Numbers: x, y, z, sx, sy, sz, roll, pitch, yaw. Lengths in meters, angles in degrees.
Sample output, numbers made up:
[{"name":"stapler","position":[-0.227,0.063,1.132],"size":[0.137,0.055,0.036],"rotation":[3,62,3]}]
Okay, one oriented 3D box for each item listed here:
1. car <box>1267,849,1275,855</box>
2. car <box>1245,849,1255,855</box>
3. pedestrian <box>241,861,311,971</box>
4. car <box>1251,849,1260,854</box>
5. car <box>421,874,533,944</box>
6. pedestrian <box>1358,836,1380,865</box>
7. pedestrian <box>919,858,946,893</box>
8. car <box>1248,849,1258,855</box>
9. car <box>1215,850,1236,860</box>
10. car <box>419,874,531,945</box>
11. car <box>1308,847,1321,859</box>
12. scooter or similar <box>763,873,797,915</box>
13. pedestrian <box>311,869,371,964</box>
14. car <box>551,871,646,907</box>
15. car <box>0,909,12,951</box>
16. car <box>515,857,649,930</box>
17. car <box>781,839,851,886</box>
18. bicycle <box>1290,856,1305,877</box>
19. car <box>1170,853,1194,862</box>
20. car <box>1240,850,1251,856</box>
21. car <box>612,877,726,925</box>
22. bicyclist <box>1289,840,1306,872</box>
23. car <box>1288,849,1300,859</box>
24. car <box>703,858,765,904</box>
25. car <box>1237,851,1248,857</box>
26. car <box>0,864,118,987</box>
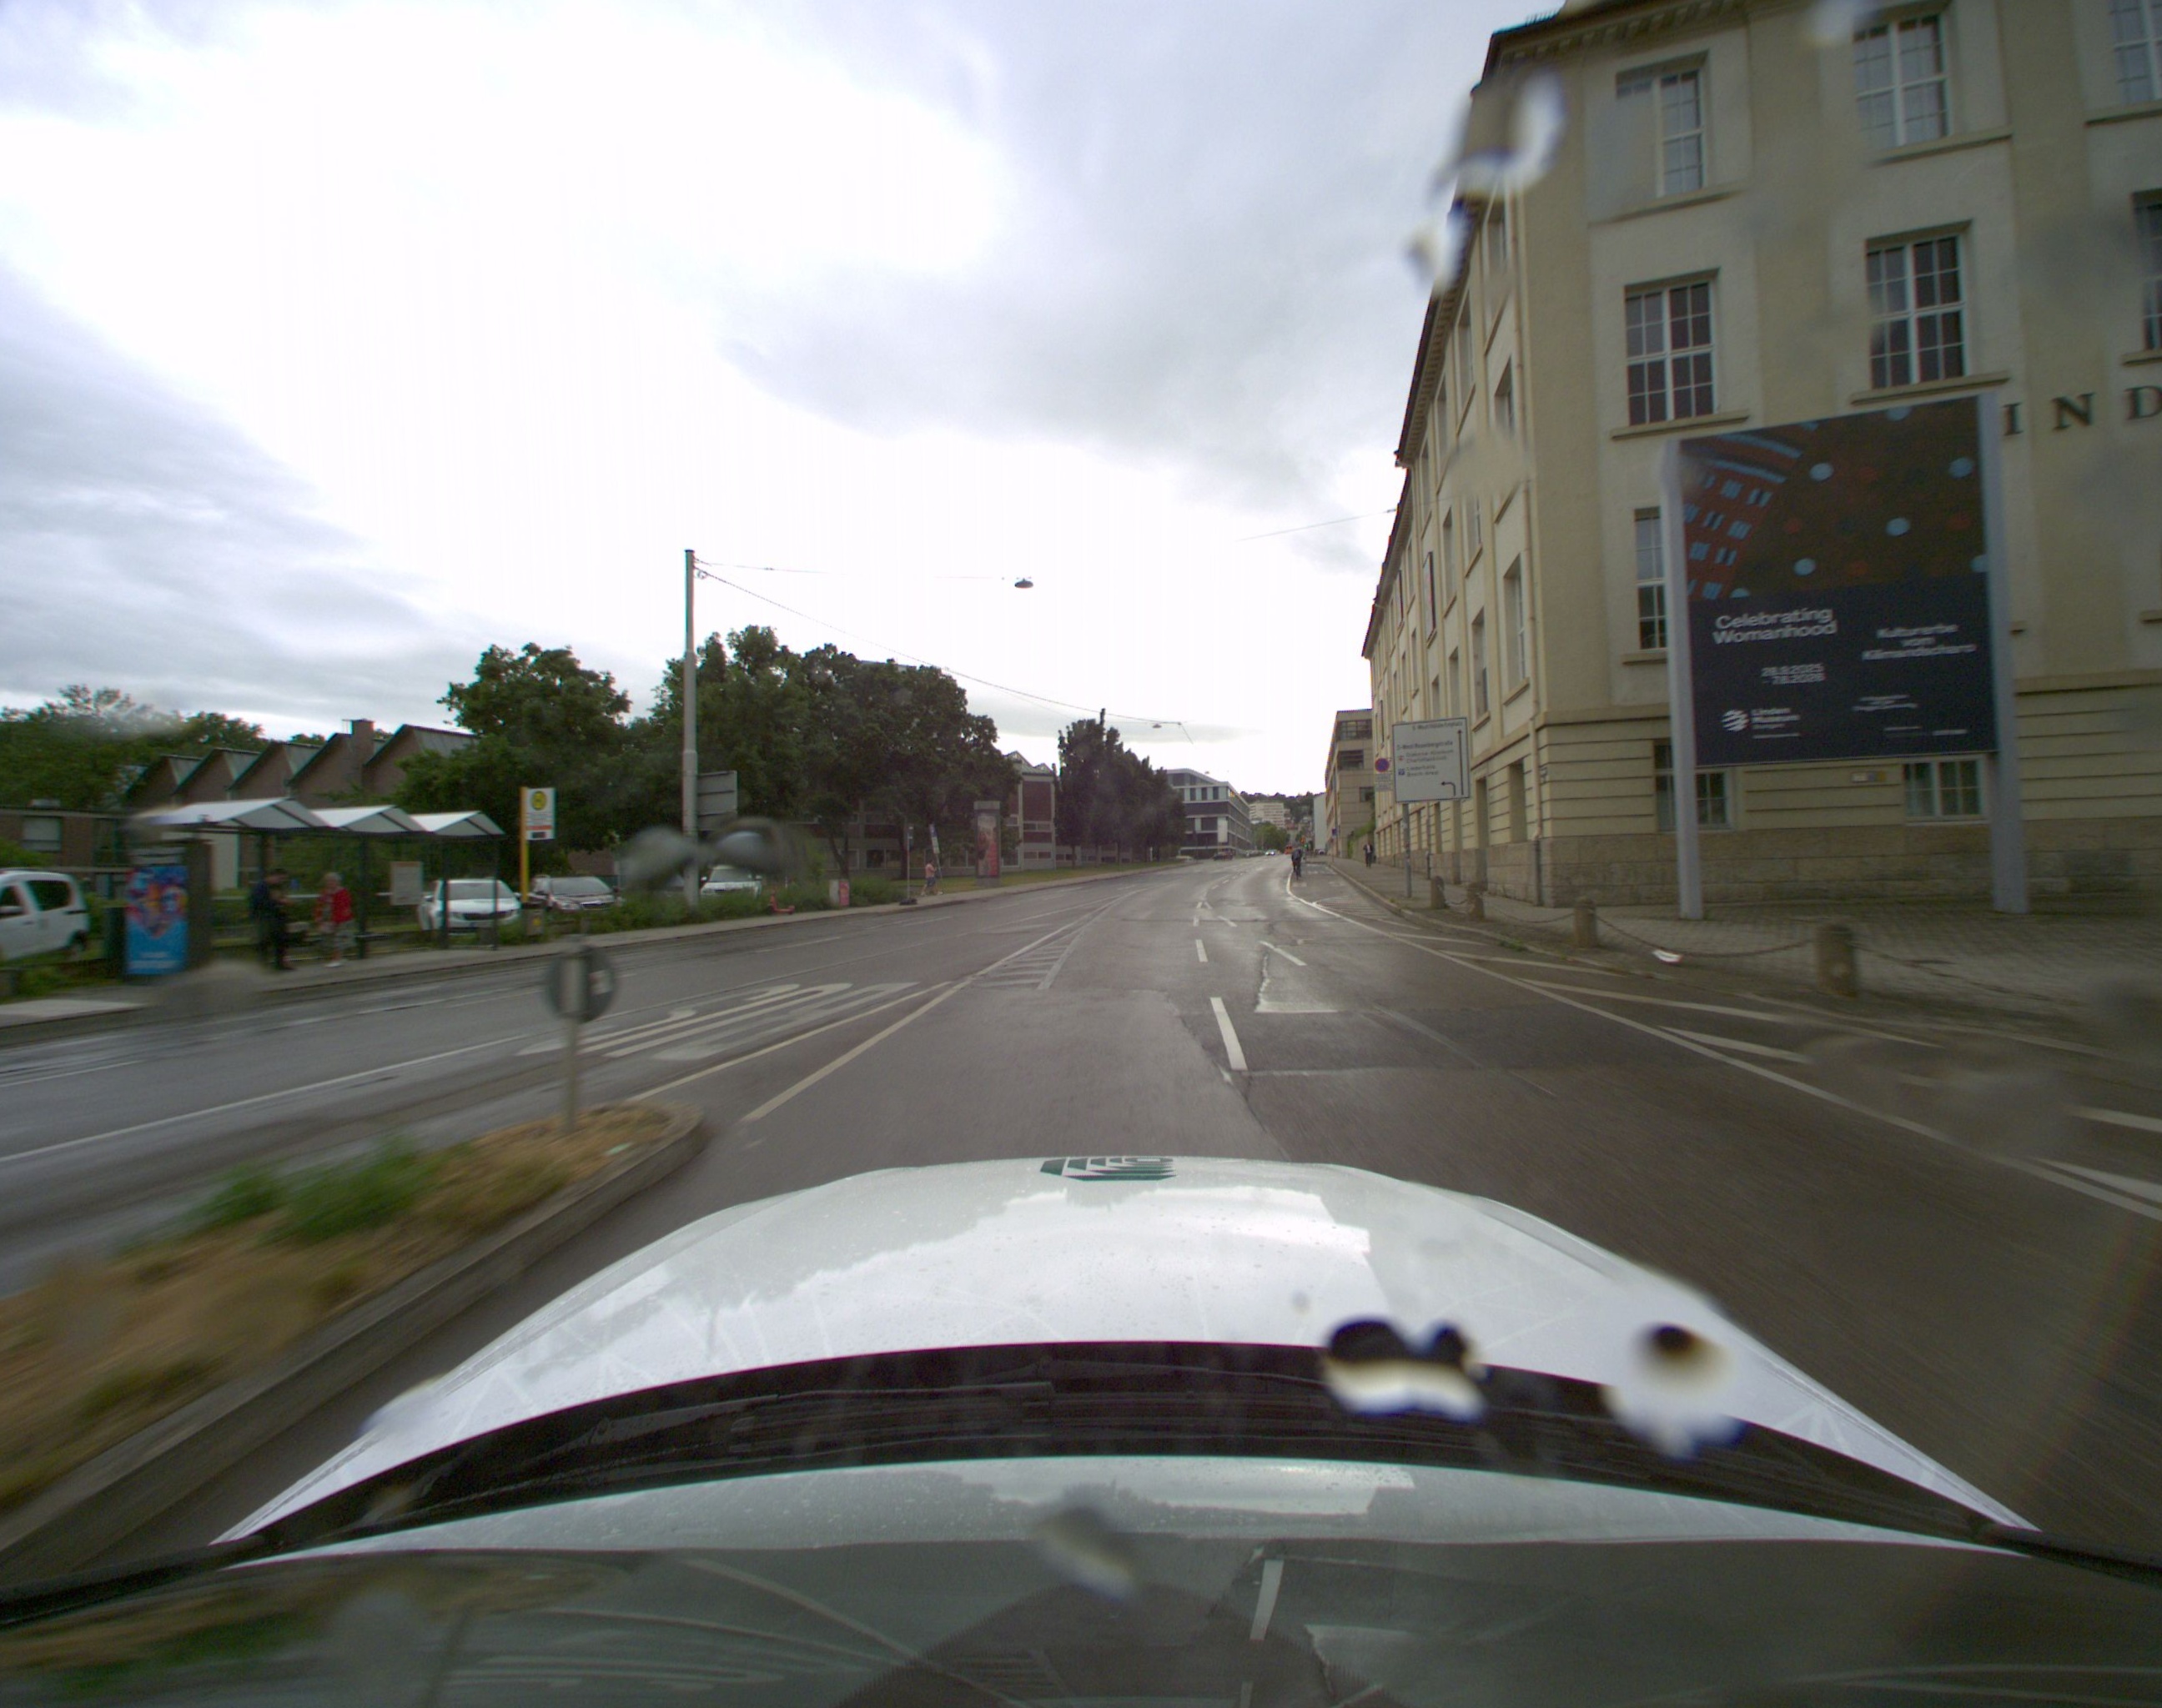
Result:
[{"name":"car","position":[49.932,-0.516,213.778],"size":[1.824,1.354,3.433],"rotation":[-1,2,19]},{"name":"car","position":[38.128,-0.489,183.790],"size":[1.824,1.235,3.433],"rotation":[-1,2,19]},{"name":"pedestrian","position":[-13.186,0.997,13.355],"size":[0.454,1.745,0.667],"rotation":[-1,0,5]},{"name":"car","position":[43.180,-0.648,201.452],"size":[1.824,1.235,3.433],"rotation":[-1,2,19]},{"name":"car","position":[-14.527,1.272,19.491],"size":[1.864,1.442,4.026],"rotation":[-1,-2,-41]},{"name":"pedestrian","position":[19.030,-0.233,53.849],"size":[1.230,1.788,1.603],"rotation":[-4,-1,18]},{"name":"pedestrian","position":[-6.834,0.963,37.418],"size":[0.797,1.571,0.962],"rotation":[-1,0,25]},{"name":"car","position":[40.105,-0.549,190.155],"size":[1.824,1.235,3.433],"rotation":[-1,2,19]},{"name":"car","position":[24.841,0.184,139.780],"size":[1.901,1.625,3.618],"rotation":[-2,2,-23]},{"name":"car","position":[-14.536,1.235,19.447],"size":[1.844,1.415,3.952],"rotation":[-1,0,-41]},{"name":"car","position":[35.290,-0.173,123.268],"size":[1.825,1.559,4.018],"rotation":[-1,2,16]},{"name":"scooter or similar","position":[-9.519,1.241,25.762],"size":[0.454,1.266,0.982],"rotation":[-1,0,20]},{"name":"pedestrian","position":[-12.866,1.064,14.175],"size":[0.613,1.595,0.505],"rotation":[-1,0,-21]},{"name":"car","position":[-42.765,3.069,72.372],"size":[3.559,2.817,6.494],"rotation":[-1,0,17]},{"name":"car","position":[-55.144,3.765,40.142],"size":[3.952,2.013,2.011],"rotation":[-1,0,23]},{"name":"car","position":[-13.412,0.977,21.817],"size":[3.949,1.768,1.845],"rotation":[-1,0,40]},{"name":"car","position":[-10.777,0.393,33.371],"size":[1.845,1.742,4.066],"rotation":[-2,-2,-6]},{"name":"bicycle","position":[11.290,0.643,42.467],"size":[0.640,1.056,1.830],"rotation":[-2,-1,19]},{"name":"car","position":[23.663,0.917,190.462],"size":[5.189,2.013,2.008],"rotation":[-1,0,14]},{"name":"car","position":[35.099,-0.173,174.096],"size":[1.824,1.235,3.433],"rotation":[-1,2,19]},{"name":"car","position":[-12.437,1.363,24.538],"size":[3.455,1.220,1.845],"rotation":[0,0,40]},{"name":"bicyclist","position":[11.305,0.094,42.509],"size":[0.694,1.632,1.134],"rotation":[-1,0,22]},{"name":"car","position":[37.786,-0.054,144.392],"size":[1.825,1.559,4.018],"rotation":[-1,2,16]},{"name":"car","position":[-12.190,0.891,28.544],"size":[1.857,1.442,4.042],"rotation":[-1,0,-25]},{"name":"car","position":[33.755,-0.012,169.932],"size":[1.824,1.235,3.433],"rotation":[-1,2,19]},{"name":"car","position":[-17.134,1.091,12.482],"size":[1.841,1.768,4.459],"rotation":[-1,-2,-33]}]
